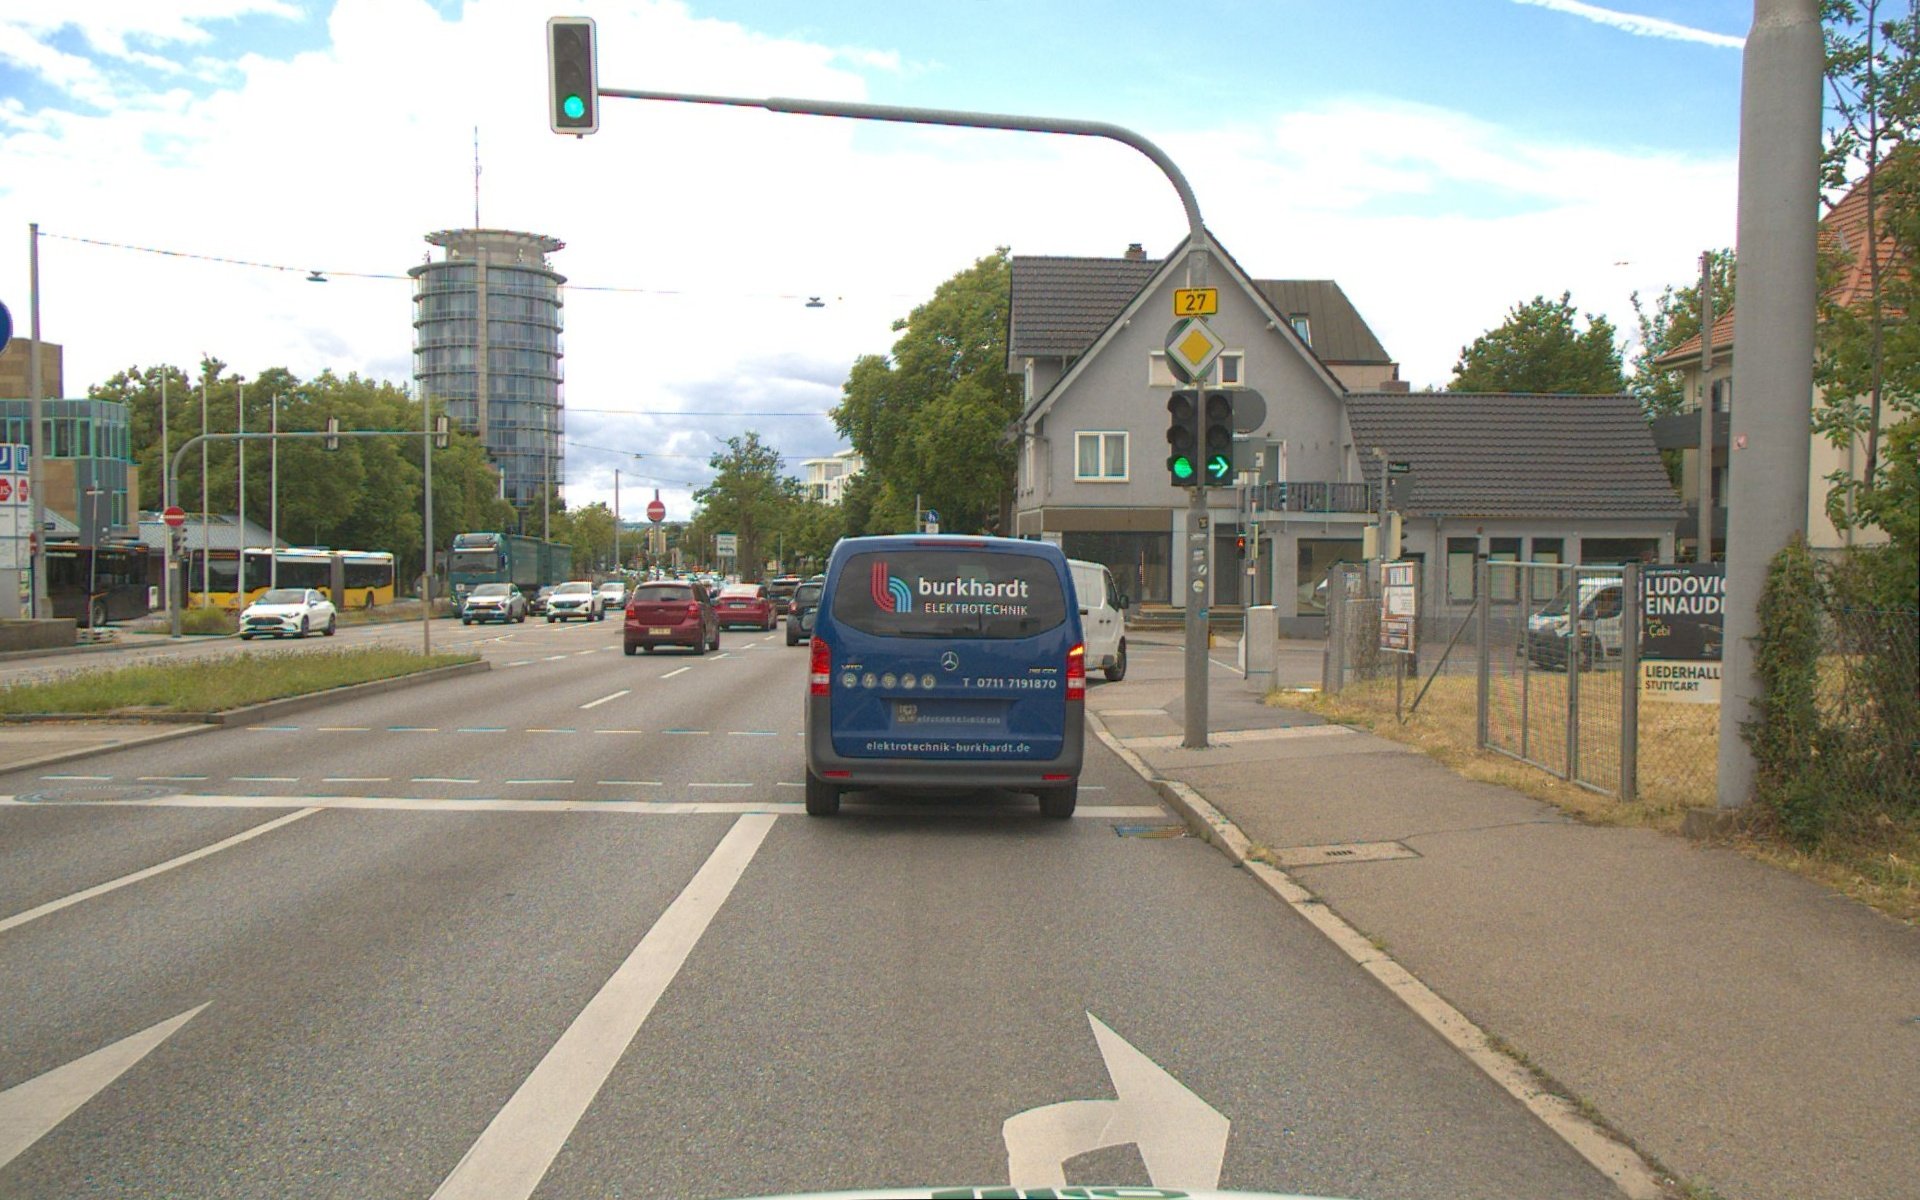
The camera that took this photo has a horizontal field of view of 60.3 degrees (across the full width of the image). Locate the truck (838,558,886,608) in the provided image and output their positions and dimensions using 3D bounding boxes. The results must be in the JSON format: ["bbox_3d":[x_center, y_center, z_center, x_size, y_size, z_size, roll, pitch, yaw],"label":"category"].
[{"bbox_3d":[-4.496,-0.780,76.512,1.953,2.203,5.558,2,0,-1],"label":"truck"}]

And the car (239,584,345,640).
[{"bbox_3d":[-20.276,0.335,50.393,1.698,1.601,4.502,-1,0,-5],"label":"car"}]

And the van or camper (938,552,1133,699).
[{"bbox_3d":[1.332,0.291,26.440,1.951,2.048,5.100,2,2,16],"label":"van or camper"}]

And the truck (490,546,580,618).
[{"bbox_3d":[-23.547,-0.974,92.115,3.301,3.792,8.022,-1,0,-3],"label":"truck"}]

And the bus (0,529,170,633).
[{"bbox_3d":[-30.838,-0.606,54.813,2.895,3.188,12.165,1,0,3],"label":"bus"}]

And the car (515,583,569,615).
[{"bbox_3d":[-20.097,-0.061,79.608,1.761,1.442,3.997,-1,0,-4],"label":"car"}]

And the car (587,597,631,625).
[{"bbox_3d":[-20.589,0.627,97.099,1.954,1.601,3.997,-1,0,-4],"label":"car"}]

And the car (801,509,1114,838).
[{"bbox_3d":[-0.205,0.444,12.415,1.910,2.000,4.537,1,0,-5],"label":"car"}]

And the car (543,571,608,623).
[{"bbox_3d":[-15.711,-0.138,67.712,1.954,2.049,4.175,-1,0,-5],"label":"car"}]

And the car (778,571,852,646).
[{"bbox_3d":[-3.583,0.171,41.164,1.712,1.753,3.997,-1,1,-4],"label":"car"}]

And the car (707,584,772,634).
[{"bbox_3d":[-6.988,0.294,52.111,1.835,1.512,3.990,0,0,-10],"label":"car"}]

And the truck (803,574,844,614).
[{"bbox_3d":[-7.884,-0.371,96.160,1.953,2.203,5.558,2,0,-1],"label":"truck"}]

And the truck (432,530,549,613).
[{"bbox_3d":[-22.989,-1.322,81.769,3.302,3.792,11.270,1,0,-4],"label":"truck"}]

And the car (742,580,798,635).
[{"bbox_3d":[-7.674,0.264,66.486,1.957,2.048,3.991,1,1,-10],"label":"car"}]

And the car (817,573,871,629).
[{"bbox_3d":[-3.820,0.011,54.928,1.712,1.753,3.997,-1,1,-4],"label":"car"}]

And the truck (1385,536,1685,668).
[{"bbox_3d":[13.401,0.054,38.776,6.258,2.748,1.999,3,0,-2],"label":"truck"}]

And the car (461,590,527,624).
[{"bbox_3d":[-18.828,0.260,66.968,1.794,1.284,3.996,-1,0,-4],"label":"car"}]

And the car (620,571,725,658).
[{"bbox_3d":[-6.091,0.266,35.448,1.711,1.753,3.998,-1,1,-3],"label":"car"}]
